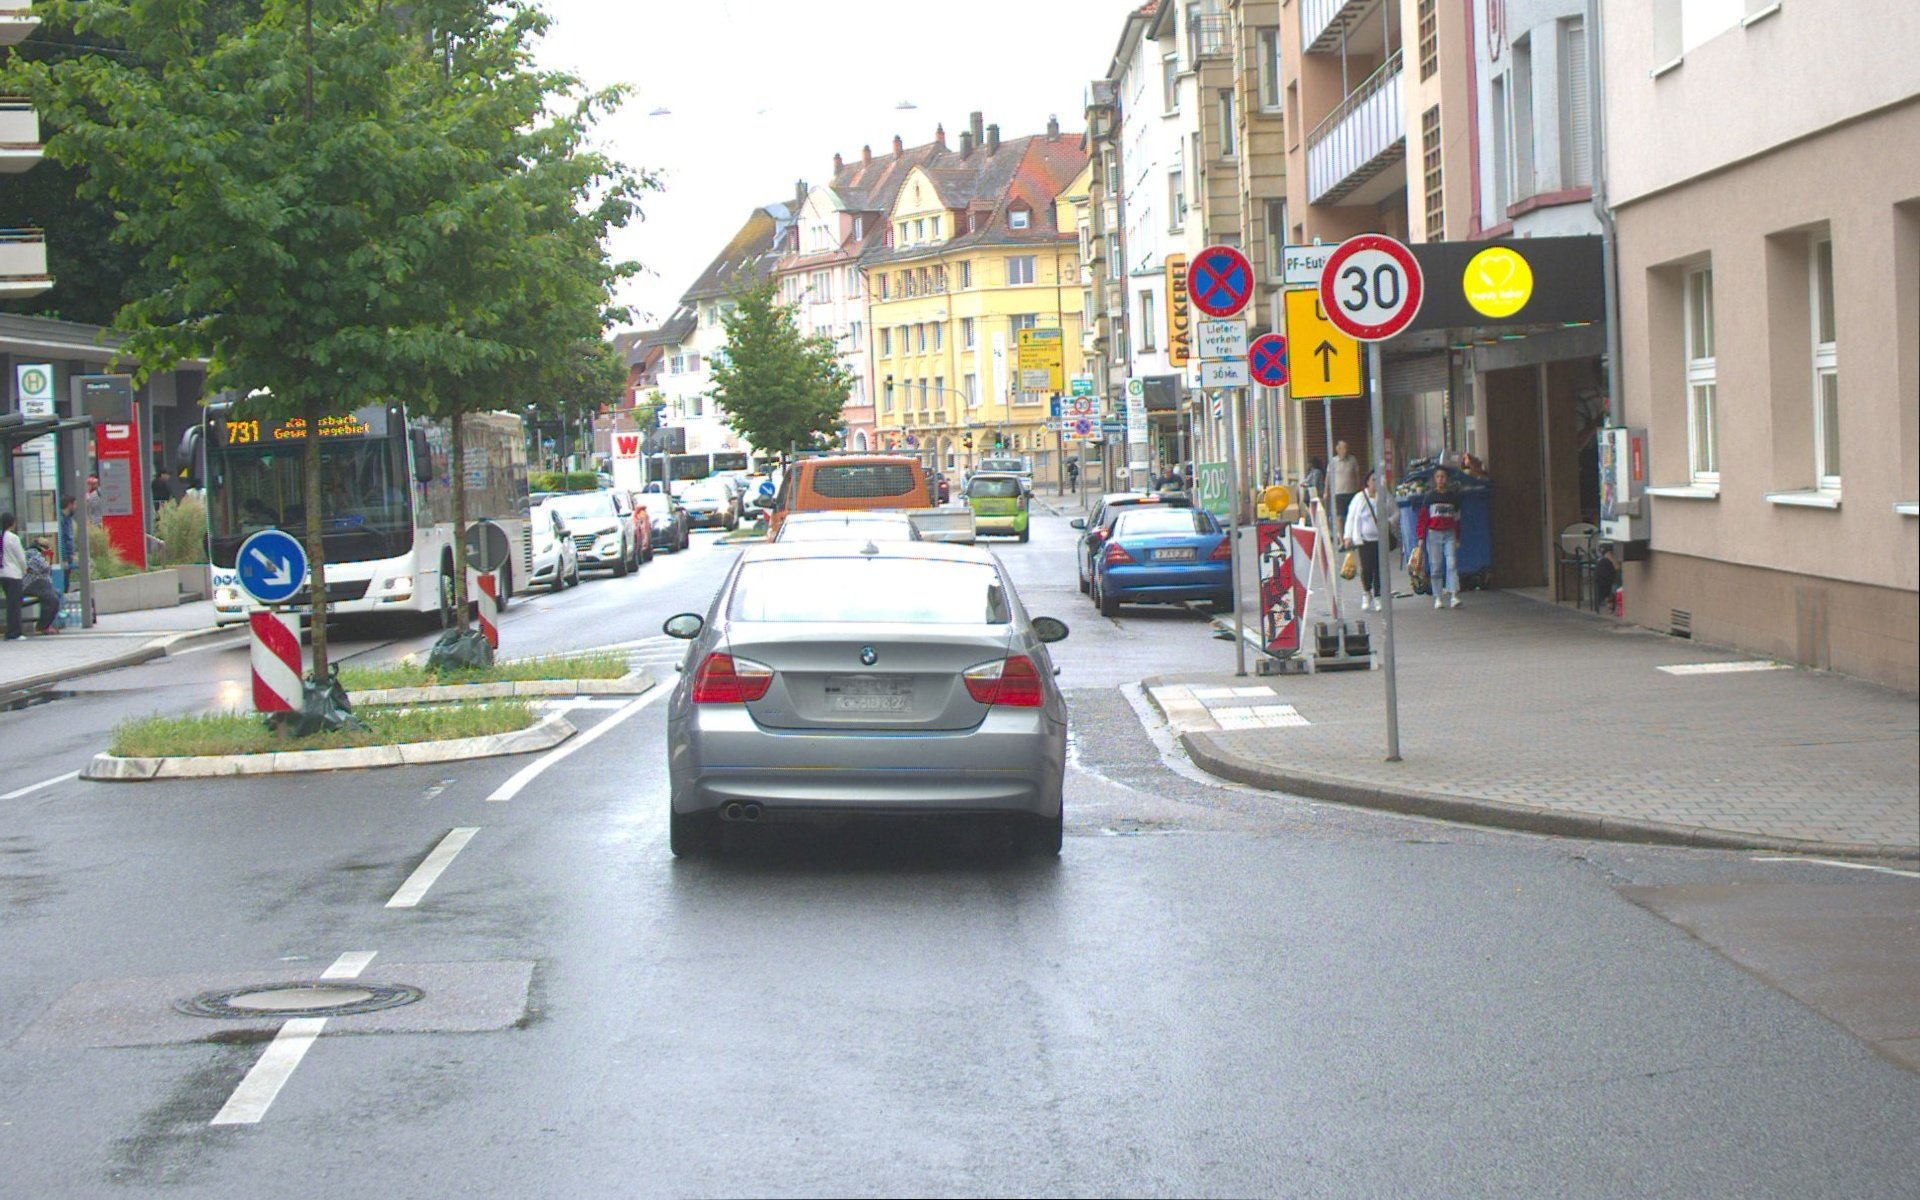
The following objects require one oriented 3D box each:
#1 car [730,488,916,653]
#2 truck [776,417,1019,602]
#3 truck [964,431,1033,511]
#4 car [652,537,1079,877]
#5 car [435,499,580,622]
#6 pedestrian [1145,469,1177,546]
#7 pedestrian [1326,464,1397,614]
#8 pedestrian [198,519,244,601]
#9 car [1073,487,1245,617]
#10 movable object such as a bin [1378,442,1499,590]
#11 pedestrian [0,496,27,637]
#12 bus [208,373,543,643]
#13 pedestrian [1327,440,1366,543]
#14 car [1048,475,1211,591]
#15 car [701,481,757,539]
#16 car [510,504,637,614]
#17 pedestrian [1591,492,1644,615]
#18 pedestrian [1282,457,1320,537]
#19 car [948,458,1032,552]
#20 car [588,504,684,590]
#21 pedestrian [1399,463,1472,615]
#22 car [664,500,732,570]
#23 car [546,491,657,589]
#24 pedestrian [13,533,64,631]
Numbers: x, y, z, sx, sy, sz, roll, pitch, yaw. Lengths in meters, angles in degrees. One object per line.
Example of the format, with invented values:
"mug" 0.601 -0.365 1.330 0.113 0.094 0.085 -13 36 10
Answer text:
"car" -1.263 -0.261 31.674 1.601 1.415 3.288 1 0 -2
"truck" -0.851 -1.102 42.833 2.215 2.109 4.653 2 1 -11
"truck" 1.314 -4.432 118.929 2.216 2.535 4.780 1 0 -1
"car" -0.390 0.413 15.771 1.756 1.357 3.165 0 2 0
"car" -7.706 -0.663 58.871 1.993 2.007 4.000 1 0 -1
"pedestrian" 3.750 -1.727 64.078 0.522 1.416 0.430 1 0 9
"pedestrian" 4.502 -0.677 38.580 0.749 1.655 0.836 1 0 6
"pedestrian" -12.387 -0.668 57.623 0.619 1.373 0.544 1 0 1
"car" 2.409 -0.571 42.548 1.809 1.514 4.000 1 0 -1
"movable object such as a bin" 5.746 -1.000 41.361 1.122 1.697 1.434 -3 0 -2
"pedestrian" -11.686 -0.414 41.858 0.543 1.703 0.466 1 0 -6
"bus" -7.725 -1.110 47.148 2.681 3.190 11.956 1 0 -1
"pedestrian" 6.348 -1.777 56.464 0.615 1.655 0.754 1 0 6
"car" 2.326 -0.900 48.042 1.993 1.514 4.000 1 0 -1
"car" -8.522 -3.290 126.637 1.993 2.007 4.001 1 0 -4
"car" -7.268 -0.763 64.959 1.993 2.007 4.000 0 0 -1
"pedestrian" 6.620 -0.474 34.623 0.412 1.199 0.357 -4 2 3
"pedestrian" 6.163 -1.849 62.052 0.565 1.416 0.796 1 0 13
"car" 0.659 -2.126 78.125 1.705 2.007 4.000 1 0 -2
"car" -7.867 -1.273 83.690 1.993 2.007 4.000 1 0 -1
"pedestrian" 5.260 -0.665 38.045 0.750 1.655 0.754 1 0 6
"car" -7.911 -1.945 103.958 1.993 2.007 4.001 1 0 -4
"car" -7.660 -1.250 73.742 1.993 2.007 4.000 1 0 -1
"pedestrian" -11.727 -0.225 43.755 0.465 1.226 0.544 1 0 1
